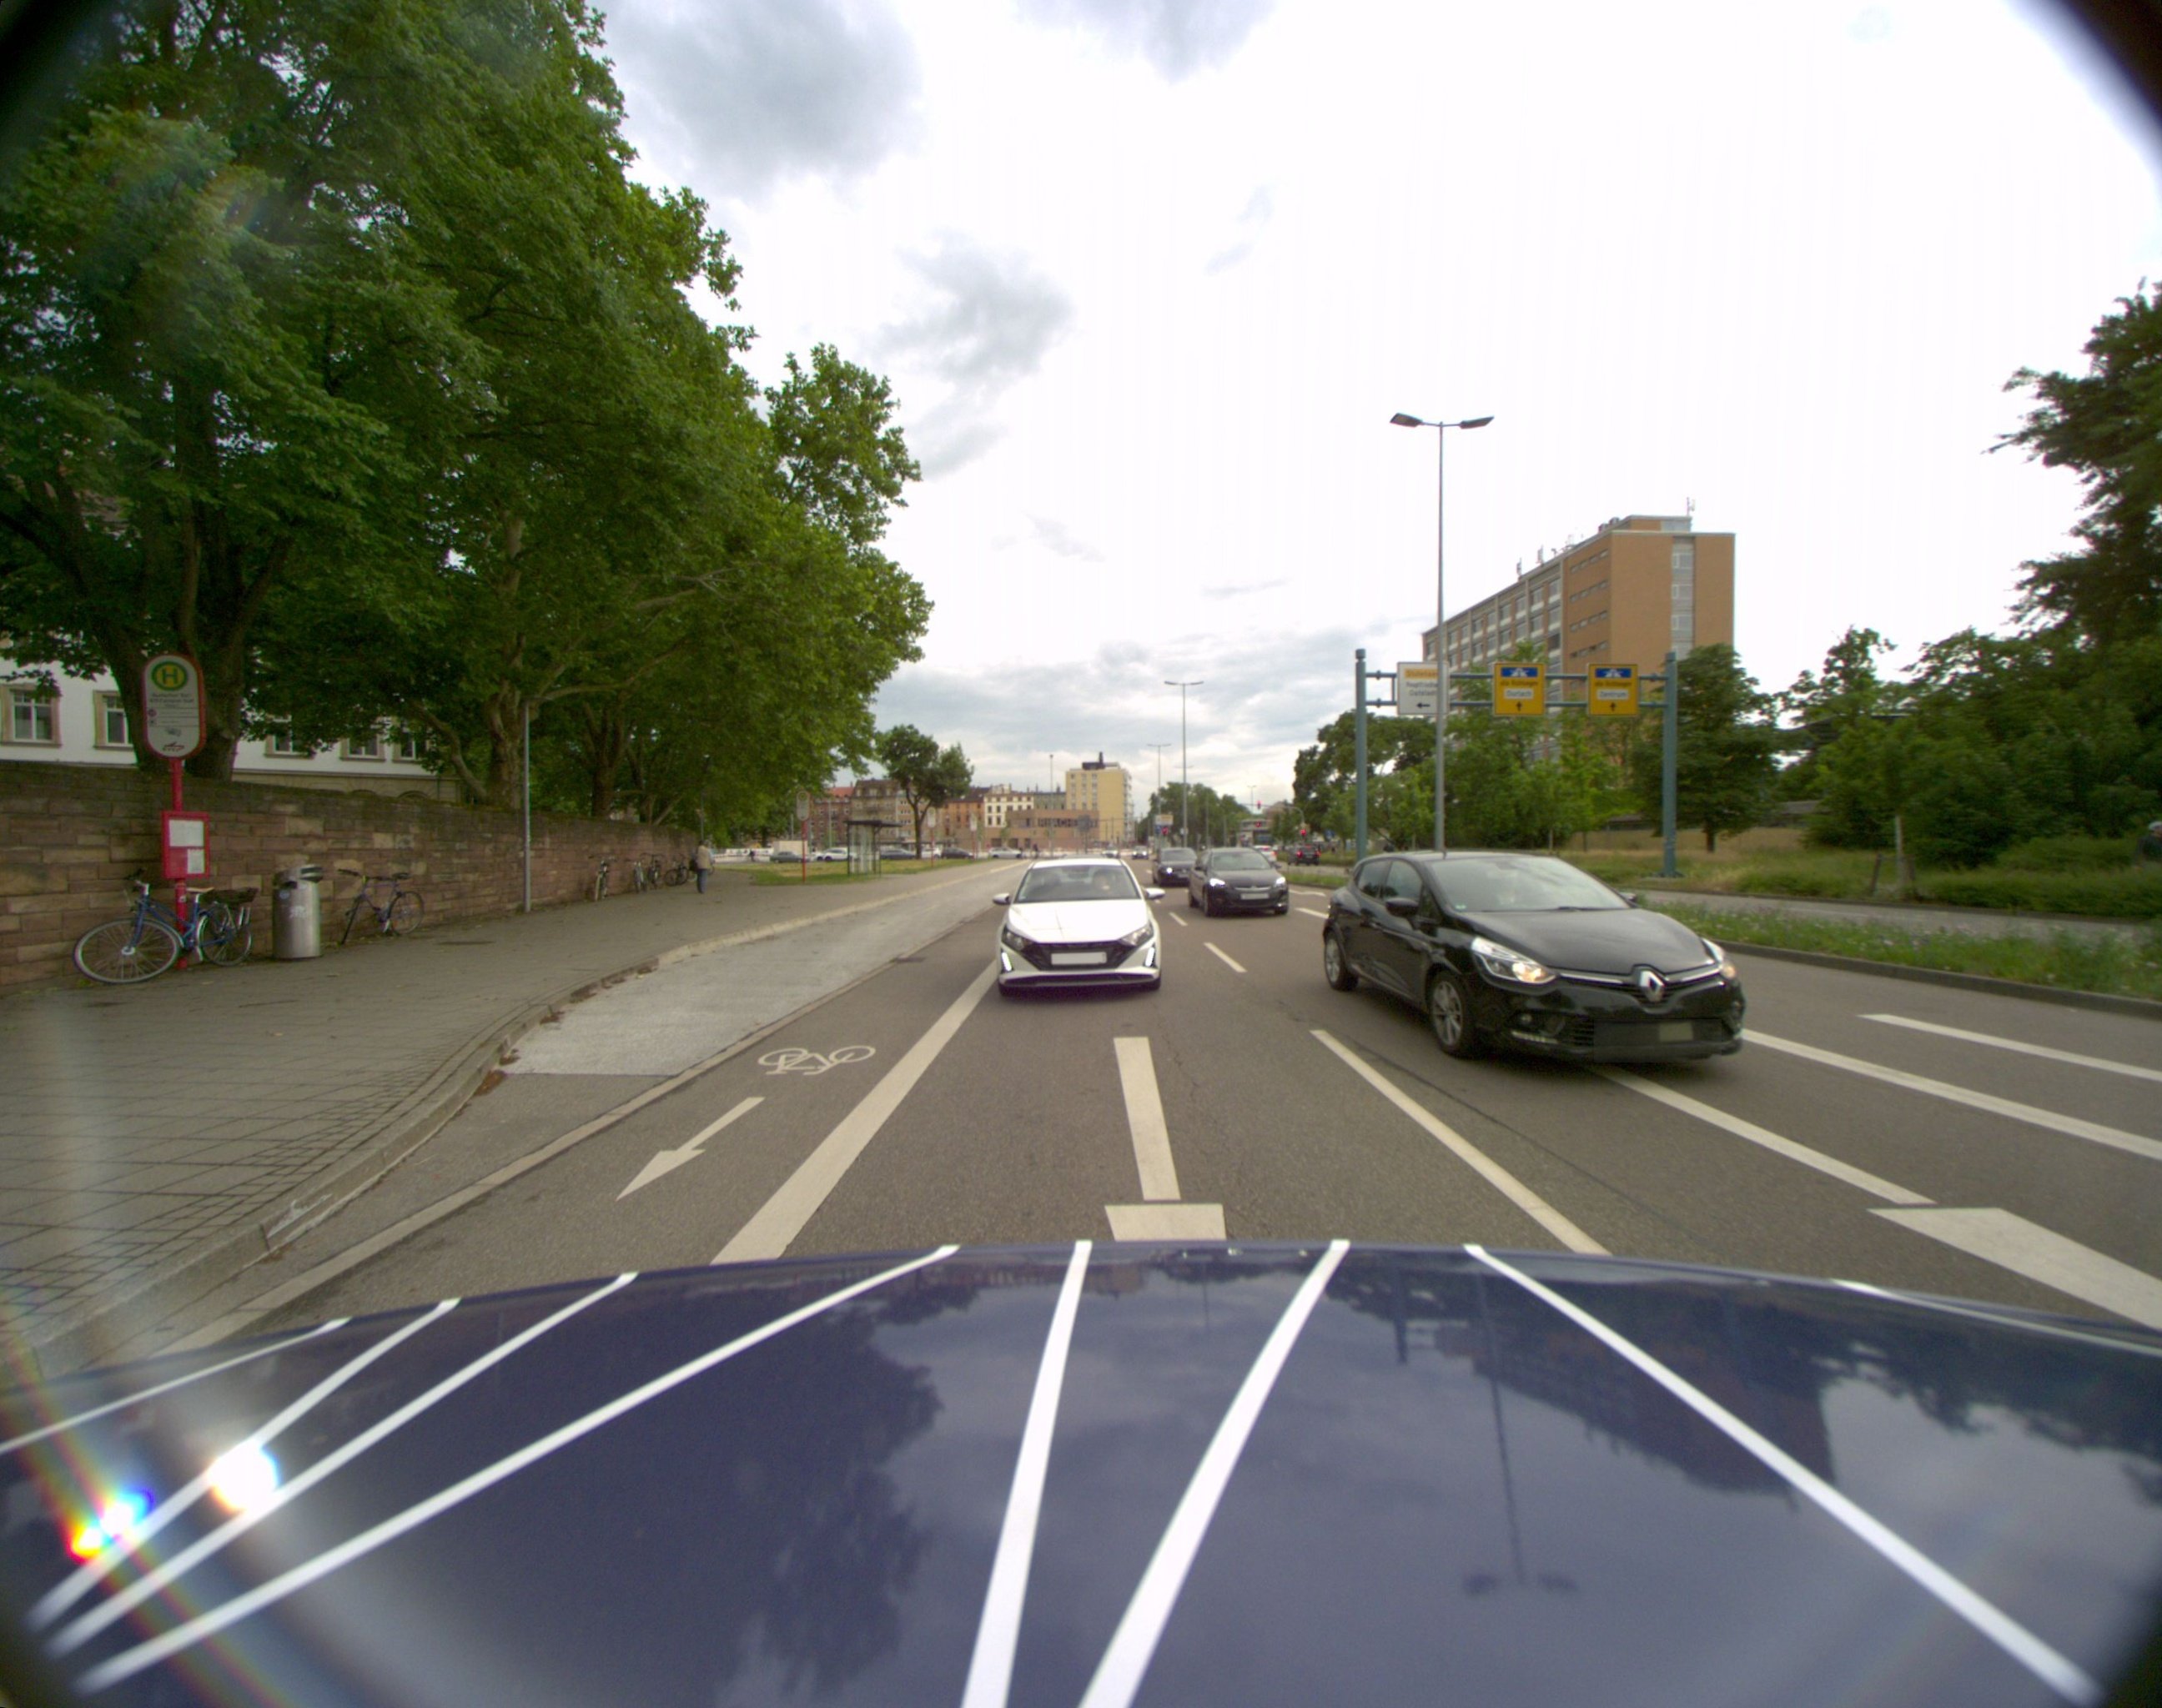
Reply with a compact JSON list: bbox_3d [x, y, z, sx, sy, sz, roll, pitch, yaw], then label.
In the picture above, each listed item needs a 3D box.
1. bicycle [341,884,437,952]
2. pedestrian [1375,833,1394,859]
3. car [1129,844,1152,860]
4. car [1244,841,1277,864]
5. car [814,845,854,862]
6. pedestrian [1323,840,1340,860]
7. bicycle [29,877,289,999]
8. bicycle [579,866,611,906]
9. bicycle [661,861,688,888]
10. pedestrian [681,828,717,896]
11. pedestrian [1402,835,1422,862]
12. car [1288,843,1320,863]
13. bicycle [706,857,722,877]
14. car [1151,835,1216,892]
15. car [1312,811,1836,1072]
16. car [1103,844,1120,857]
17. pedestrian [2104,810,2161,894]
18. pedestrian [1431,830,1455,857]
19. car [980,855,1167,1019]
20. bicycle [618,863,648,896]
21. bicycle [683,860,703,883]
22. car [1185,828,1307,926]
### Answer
[{"bbox_3d":[-10.589,0.951,11.685,0.291,0.880,1.609,-1,1,-12],"label":"bicycle"},{"bbox_3d":[23.971,-0.661,59.974,0.882,2.002,1.220,-2,1,-7],"label":"pedestrian"},{"bbox_3d":[6.467,-0.222,82.859,1.999,1.536,3.999,-3,1,-1],"label":"car"},{"bbox_3d":[14.765,-0.187,62.634,1.893,1.763,4.000,-2,1,2],"label":"car"},{"bbox_3d":[-30.796,-0.095,94.777,4.284,2.002,1.999,-2,1,-4],"label":"car"},{"bbox_3d":[26.298,-0.409,79.714,1.223,2.002,1.520,-2,1,0],"label":"pedestrian"},{"bbox_3d":[-9.944,0.839,8.344,0.478,1.070,2.081,0,1,-6],"label":"bicycle"},{"bbox_3d":[-12.370,0.804,19.381,0.365,0.934,1.637,-1,1,-21],"label":"bicycle"},{"bbox_3d":[-15.083,0.750,28.215,0.655,0.934,1.953,-1,1,-21],"label":"bicycle"},{"bbox_3d":[-11.499,0.228,22.923,0.784,2.002,0.887,2,1,-17],"label":"pedestrian"},{"bbox_3d":[25.595,-0.437,58.803,0.882,2.002,1.220,-2,1,-7],"label":"pedestrian"},{"bbox_3d":[18.076,-0.117,61.614,1.854,1.543,4.001,-1,1,7],"label":"car"},{"bbox_3d":[-20.442,0.722,42.344,0.693,1.078,1.650,-1,1,-22],"label":"bicycle"},{"bbox_3d":[3.830,0.311,29.097,1.998,2.002,3.999,0,1,1],"label":"car"},{"bbox_3d":[3.345,0.462,6.228,1.732,1.450,3.999,0,1,1],"label":"car"},{"bbox_3d":[3.388,-0.420,83.934,1.606,1.360,3.578,-3,1,-1],"label":"car"},{"bbox_3d":[21.447,-0.064,15.154,0.990,1.616,0.813,-2,1,-2],"label":"pedestrian"},{"bbox_3d":[25.750,-0.747,54.061,1.137,1.908,1.162,-2,1,4],"label":"pedestrian"},{"bbox_3d":[-0.041,0.822,9.426,1.813,1.533,3.999,0,1,1],"label":"car"},{"bbox_3d":[-13.679,0.759,23.246,0.482,0.934,1.895,-1,1,-21],"label":"bicycle"},{"bbox_3d":[-16.905,0.755,33.129,0.569,0.934,1.764,-1,1,-22],"label":"bicycle"},{"bbox_3d":[3.662,0.441,17.617,1.998,2.002,3.999,0,1,1],"label":"car"}]
